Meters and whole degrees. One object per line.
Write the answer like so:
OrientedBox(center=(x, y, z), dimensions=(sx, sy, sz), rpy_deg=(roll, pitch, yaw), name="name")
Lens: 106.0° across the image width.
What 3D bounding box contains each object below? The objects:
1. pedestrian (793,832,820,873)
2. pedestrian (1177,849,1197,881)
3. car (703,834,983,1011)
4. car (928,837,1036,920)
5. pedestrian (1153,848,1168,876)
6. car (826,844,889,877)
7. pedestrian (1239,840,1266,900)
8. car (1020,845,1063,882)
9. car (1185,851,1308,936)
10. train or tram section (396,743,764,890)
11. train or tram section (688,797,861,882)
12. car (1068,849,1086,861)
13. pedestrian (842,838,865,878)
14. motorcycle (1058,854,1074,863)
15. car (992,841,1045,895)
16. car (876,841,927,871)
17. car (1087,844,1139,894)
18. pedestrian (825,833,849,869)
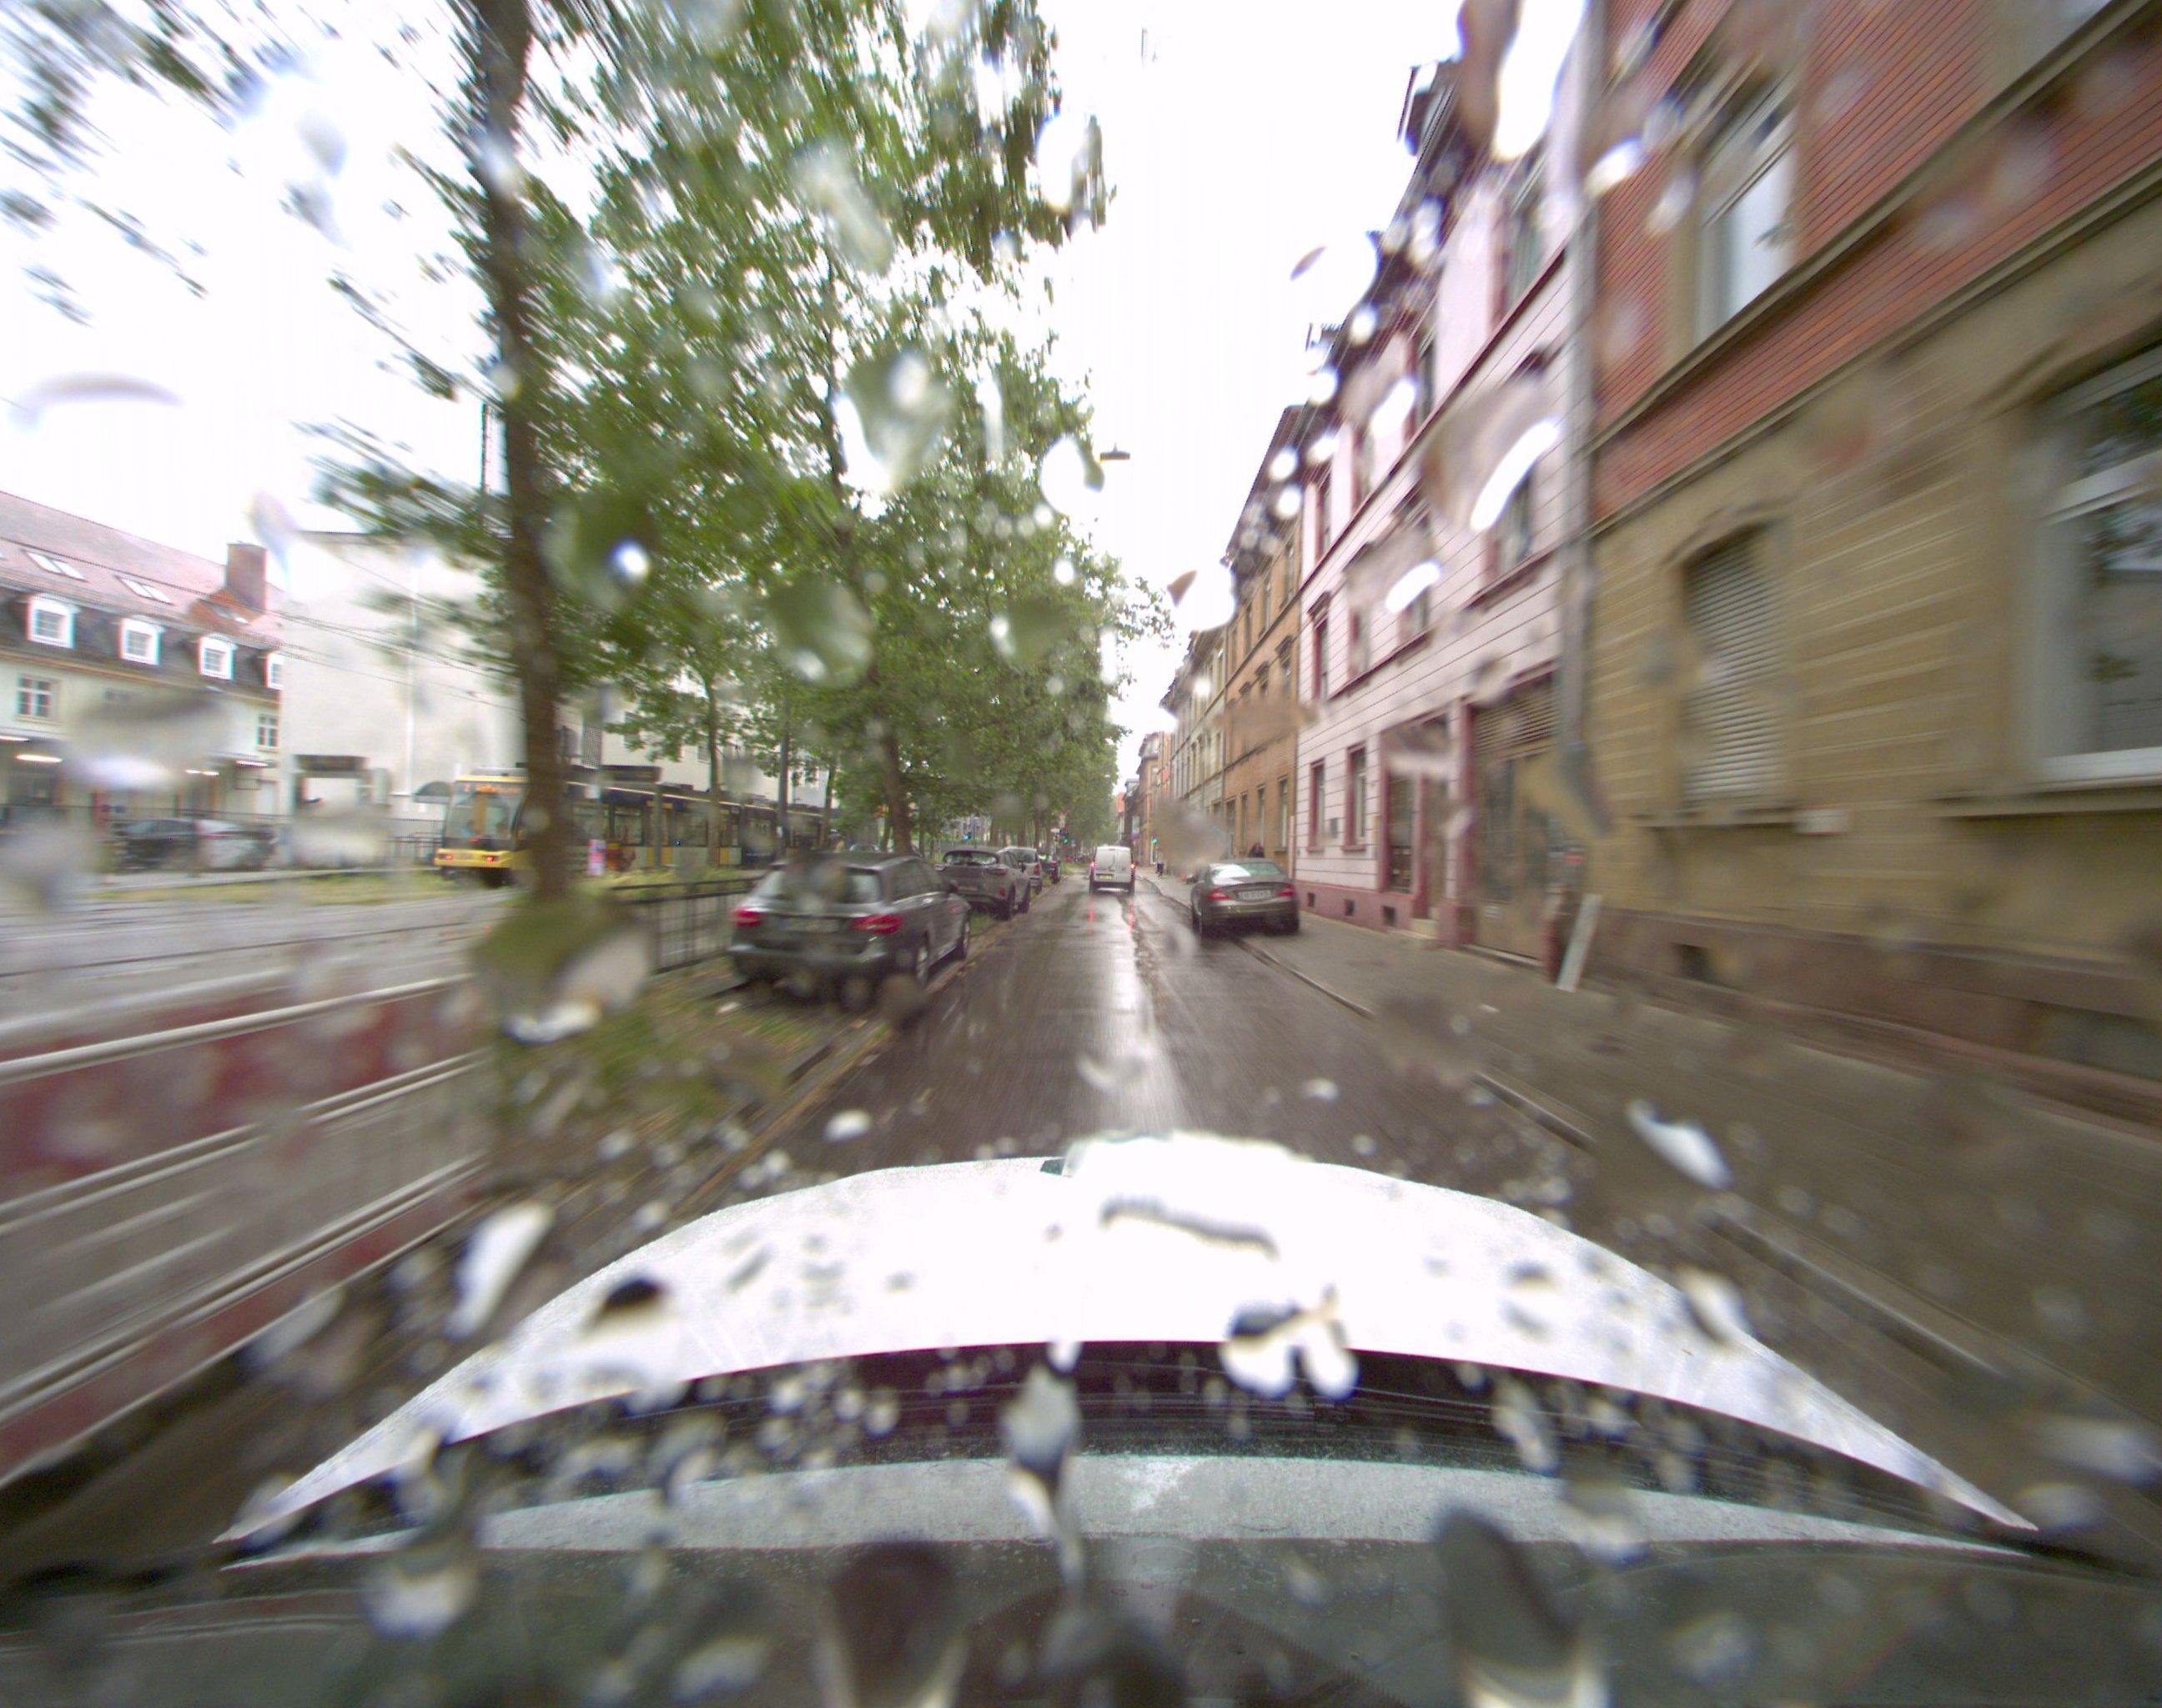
OrientedBox(center=(-11.656, -0.063, 34.590), dimensions=(0.815, 1.703, 0.872), rpy_deg=(2, 0, 0), name="pedestrian")
OrientedBox(center=(5.123, 0.521, 39.499), dimensions=(0.837, 1.511, 1.108), rpy_deg=(-2, 0, 1), name="pedestrian")
OrientedBox(center=(-2.403, 0.621, 9.577), dimensions=(1.822, 1.503, 4.613), rpy_deg=(2, 0, 0), name="car")
OrientedBox(center=(-2.114, 0.498, 18.579), dimensions=(1.692, 1.635, 4.358), rpy_deg=(1, 0, 3), name="car")
OrientedBox(center=(4.974, 0.487, 51.100), dimensions=(0.837, 1.716, 1.108), rpy_deg=(-2, 0, 1), name="pedestrian")
OrientedBox(center=(-10.286, 0.270, 37.704), dimensions=(1.733, 1.343, 3.755), rpy_deg=(4, 0, 0), name="car")
OrientedBox(center=(4.931, 0.462, 23.437), dimensions=(0.636, 1.684, 0.603), rpy_deg=(-2, 0, 0), name="pedestrian")
OrientedBox(center=(-1.773, 0.428, 37.793), dimensions=(1.643, 1.500, 4.119), rpy_deg=(3, 0, 1), name="car")
OrientedBox(center=(3.181, 0.689, 16.558), dimensions=(1.806, 1.421, 4.702), rpy_deg=(-2, 0, 4), name="car")
OrientedBox(center=(-15.115, -0.750, 27.281), dimensions=(3.095, 3.558, 14.576), rpy_deg=(1, -1, 0), name="train or tram section")
OrientedBox(center=(-14.970, -0.441, 41.828), dimensions=(3.095, 3.558, 14.673), rpy_deg=(1, -1, 1), name="train or tram section")
OrientedBox(center=(-0.501, 0.095, 98.684), dimensions=(1.986, 1.387, 4.002), rpy_deg=(1, 0, 2), name="car")
OrientedBox(center=(-11.659, 0.190, 41.728), dimensions=(0.865, 2.013, 0.821), rpy_deg=(2, 0, 4), name="pedestrian")
OrientedBox(center=(-1.679, 0.508, 89.796), dimensions=(1.697, 0.864, 0.578), rpy_deg=(2, 0, 6), name="motorcycle")
OrientedBox(center=(-2.131, 0.431, 28.507), dimensions=(1.619, 1.681, 3.657), rpy_deg=(2, 1, -2), name="car")
OrientedBox(center=(-10.215, 0.086, 46.679), dimensions=(1.987, 1.613, 4.000), rpy_deg=(2, 0, 0), name="car")
OrientedBox(center=(1.252, 0.604, 32.493), dimensions=(1.896, 1.797, 4.114), rpy_deg=(1, -1, 2), name="car")
OrientedBox(center=(-11.729, -0.130, 39.125), dimensions=(0.815, 1.703, 0.872), rpy_deg=(2, 0, 0), name="pedestrian")
